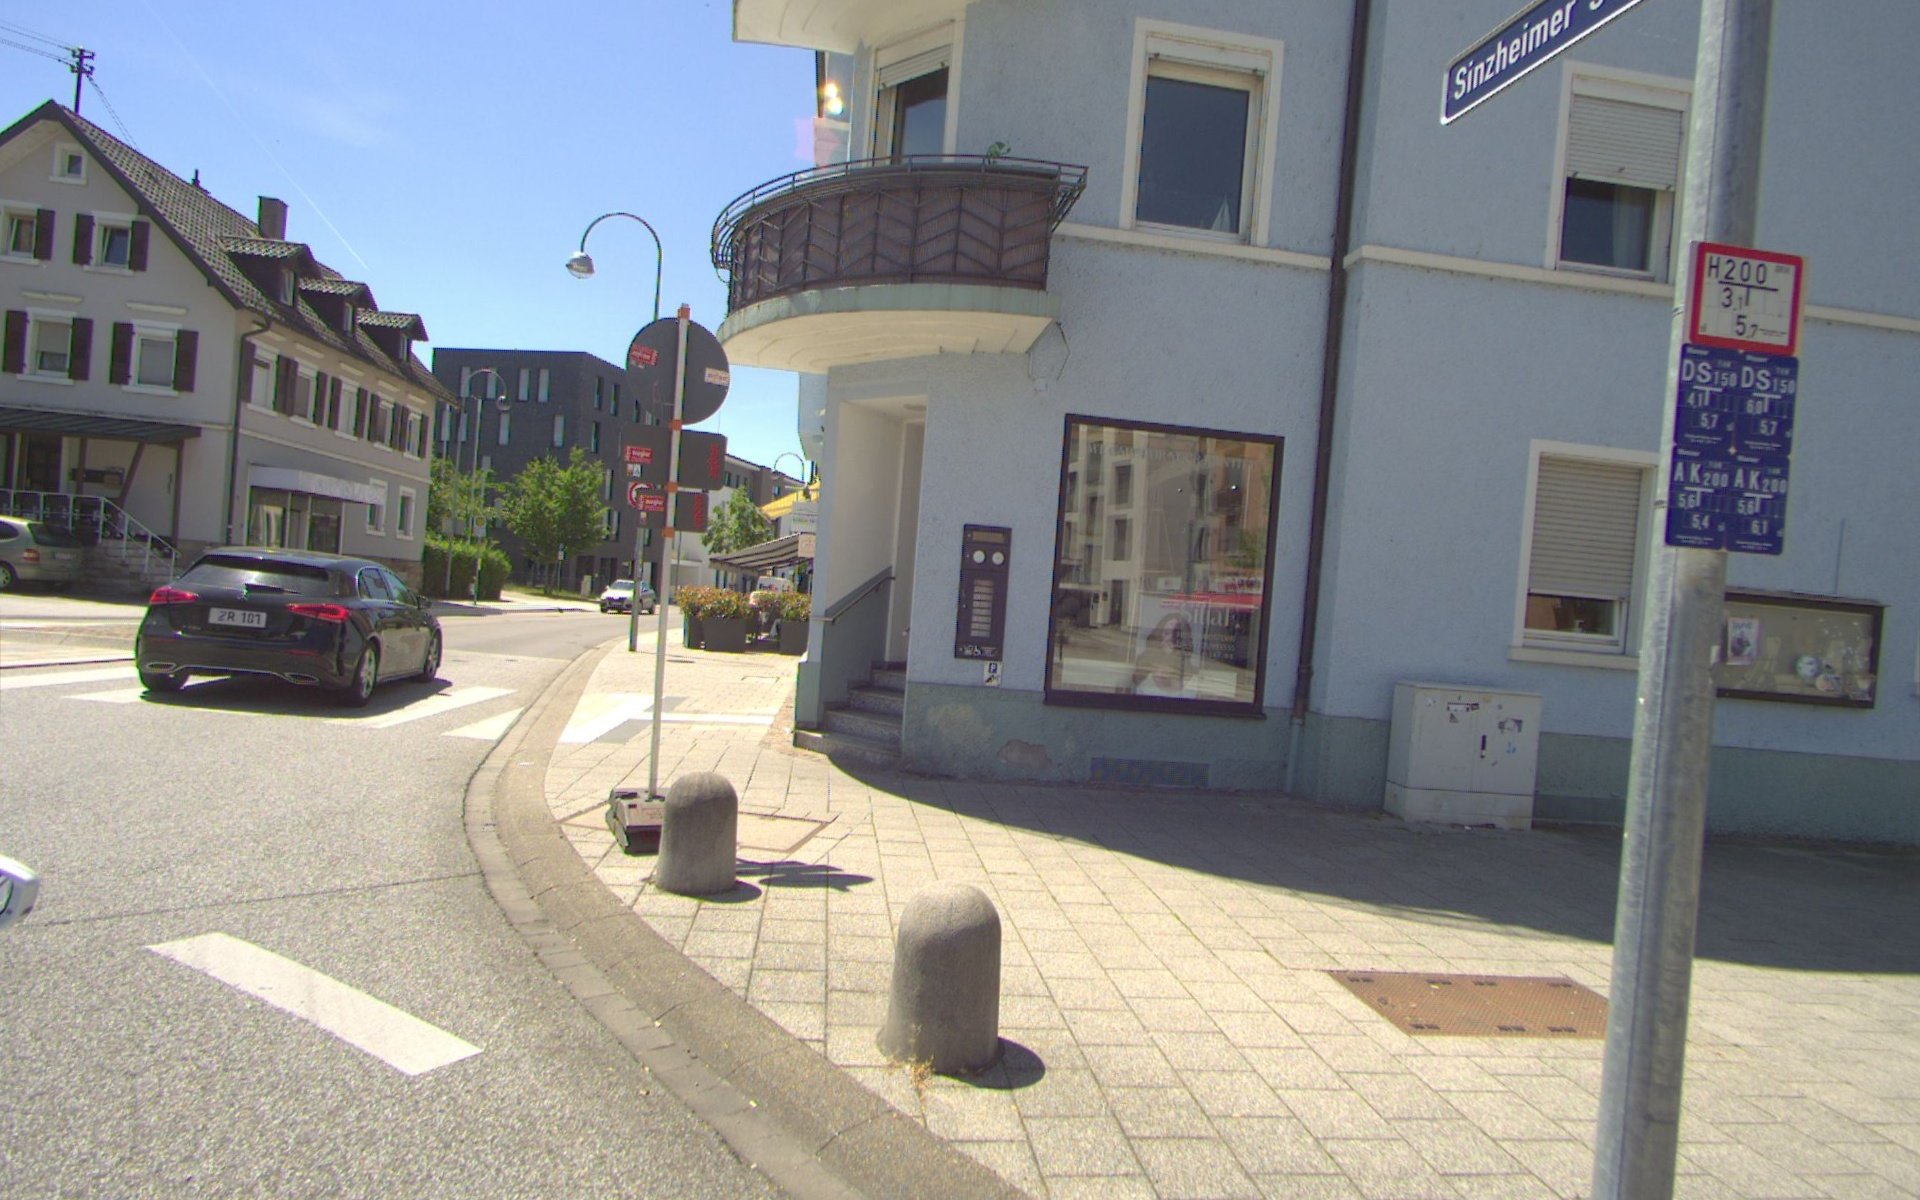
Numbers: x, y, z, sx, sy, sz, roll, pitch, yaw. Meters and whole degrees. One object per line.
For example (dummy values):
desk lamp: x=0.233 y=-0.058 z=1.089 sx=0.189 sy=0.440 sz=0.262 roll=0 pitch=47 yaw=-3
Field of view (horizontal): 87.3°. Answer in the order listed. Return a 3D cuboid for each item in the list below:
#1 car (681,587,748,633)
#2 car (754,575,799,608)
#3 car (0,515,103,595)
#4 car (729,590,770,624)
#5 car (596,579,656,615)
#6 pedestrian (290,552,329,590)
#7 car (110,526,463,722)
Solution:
car: x=-9.116 y=0.364 z=37.595 sx=1.723 sy=1.505 sz=3.997 roll=4 pitch=0 yaw=-5
car: x=-12.841 y=-0.565 z=70.640 sx=1.962 sy=2.039 sz=4.001 roll=5 pitch=0 yaw=5
car: x=-22.027 y=-1.122 z=22.522 sx=3.928 sy=1.660 sz=1.756 roll=5 pitch=0 yaw=-5
car: x=-10.599 y=0.336 z=50.767 sx=1.582 sy=1.549 sz=3.488 roll=3 pitch=0 yaw=-6
car: x=-15.765 y=-0.131 z=47.683 sx=1.649 sy=1.562 sz=4.081 roll=3 pitch=0 yaw=-3
pedestrian: x=-19.283 y=-0.852 z=29.830 sx=0.660 sy=1.068 sz=0.698 roll=5 pitch=1 yaw=-9
car: x=-6.796 y=0.193 z=10.777 sx=1.742 sy=1.474 sz=4.424 roll=8 pitch=-1 yaw=-16
